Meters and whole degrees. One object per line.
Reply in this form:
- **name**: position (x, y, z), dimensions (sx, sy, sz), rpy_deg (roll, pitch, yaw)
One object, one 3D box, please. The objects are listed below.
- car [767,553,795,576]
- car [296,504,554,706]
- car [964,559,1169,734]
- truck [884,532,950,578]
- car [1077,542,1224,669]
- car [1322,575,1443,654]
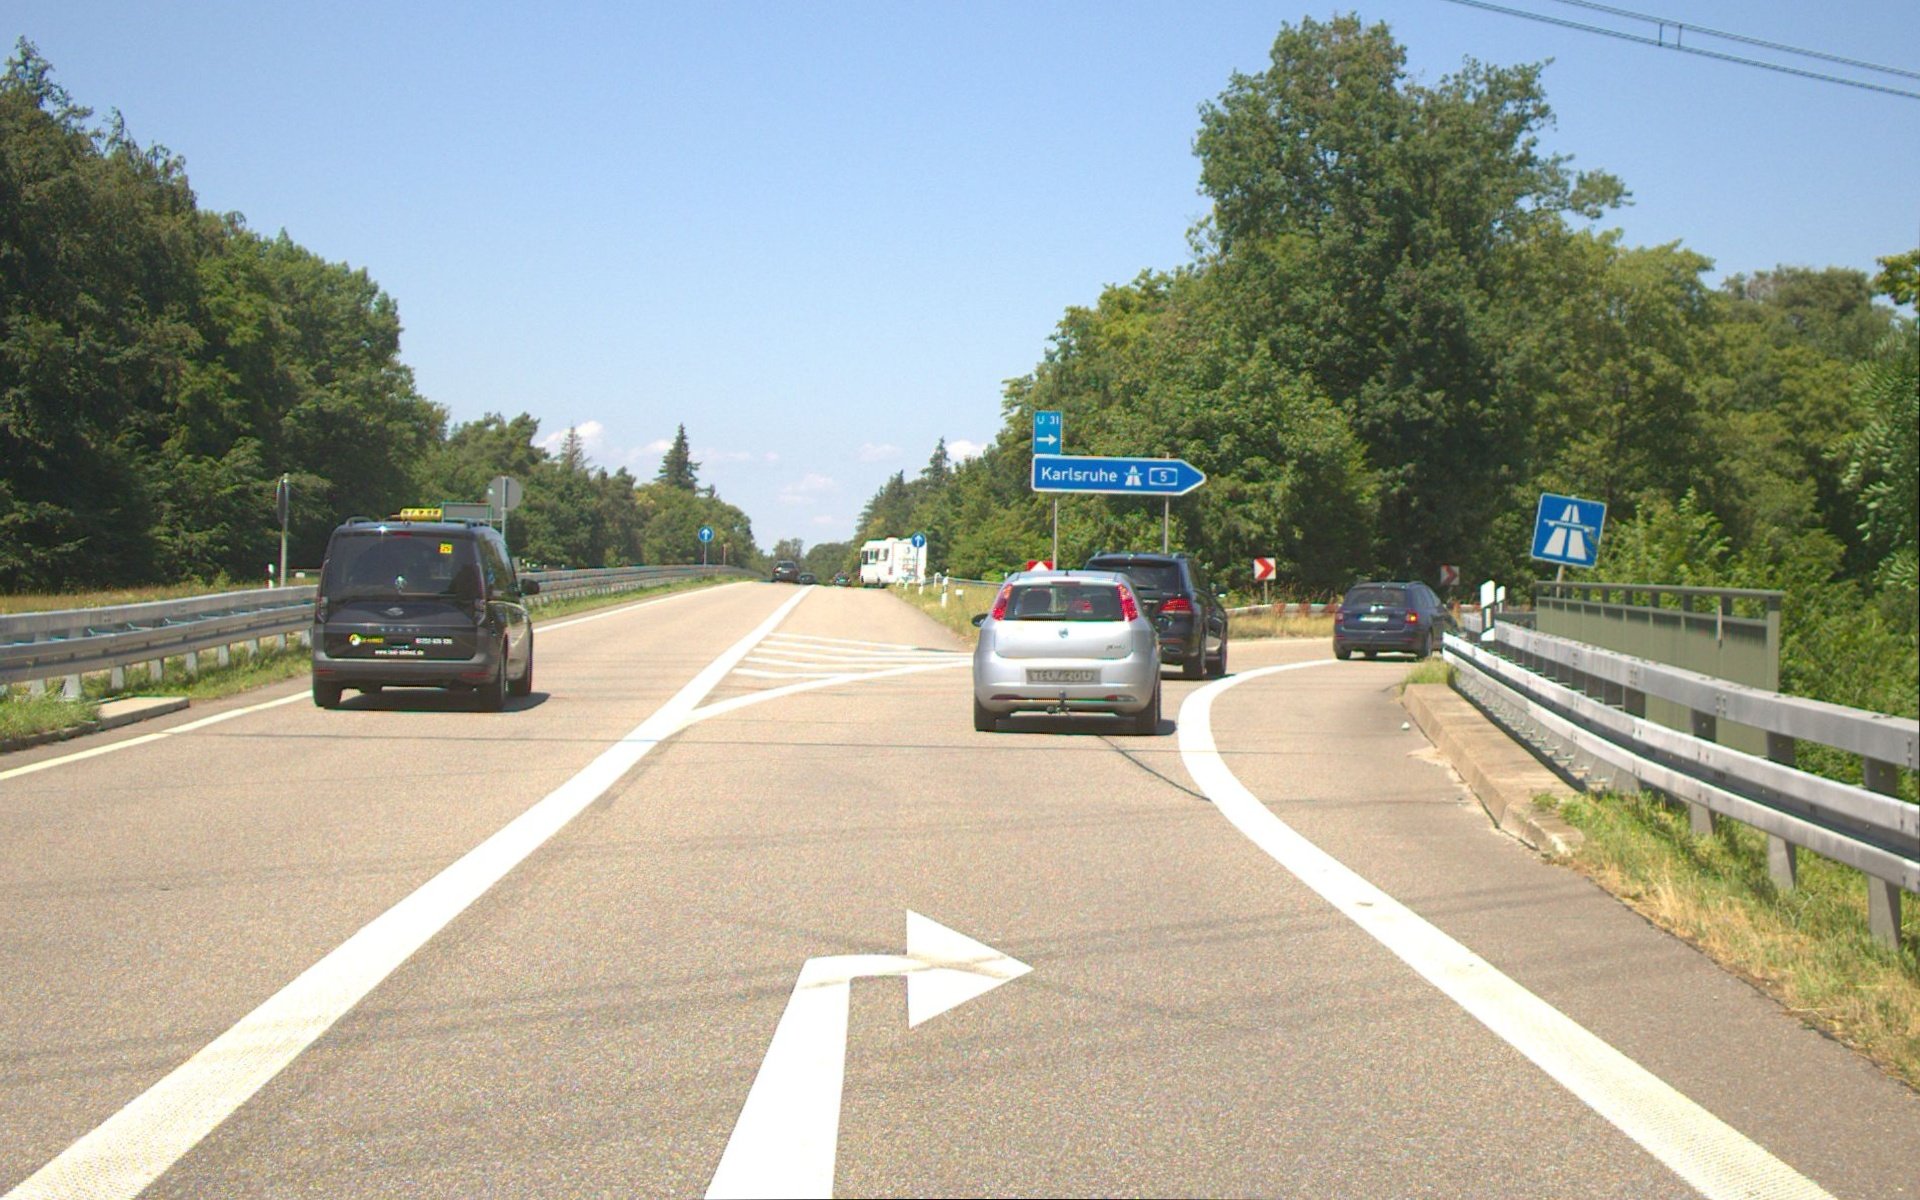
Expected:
- **car**: position (-11.948, -2.362, 229.691), dimensions (1.712, 1.466, 3.574), rpy_deg (3, 1, -1)
- **car**: position (-5.321, 0.007, 34.842), dimensions (1.854, 1.880, 5.574), rpy_deg (0, 1, -1)
- **car**: position (1.044, 0.395, 32.118), dimensions (1.640, 1.463, 3.418), rpy_deg (3, 1, 5)
- **truck**: position (-2.523, -2.637, 203.597), dimensions (2.619, 2.633, 7.664), rpy_deg (1, 1, 9)
- **car**: position (2.732, 0.060, 48.592), dimensions (1.641, 1.648, 3.573), rpy_deg (3, 1, 9)
- **car**: position (7.905, 0.263, 64.077), dimensions (1.641, 1.338, 3.571), rpy_deg (3, 1, 16)
